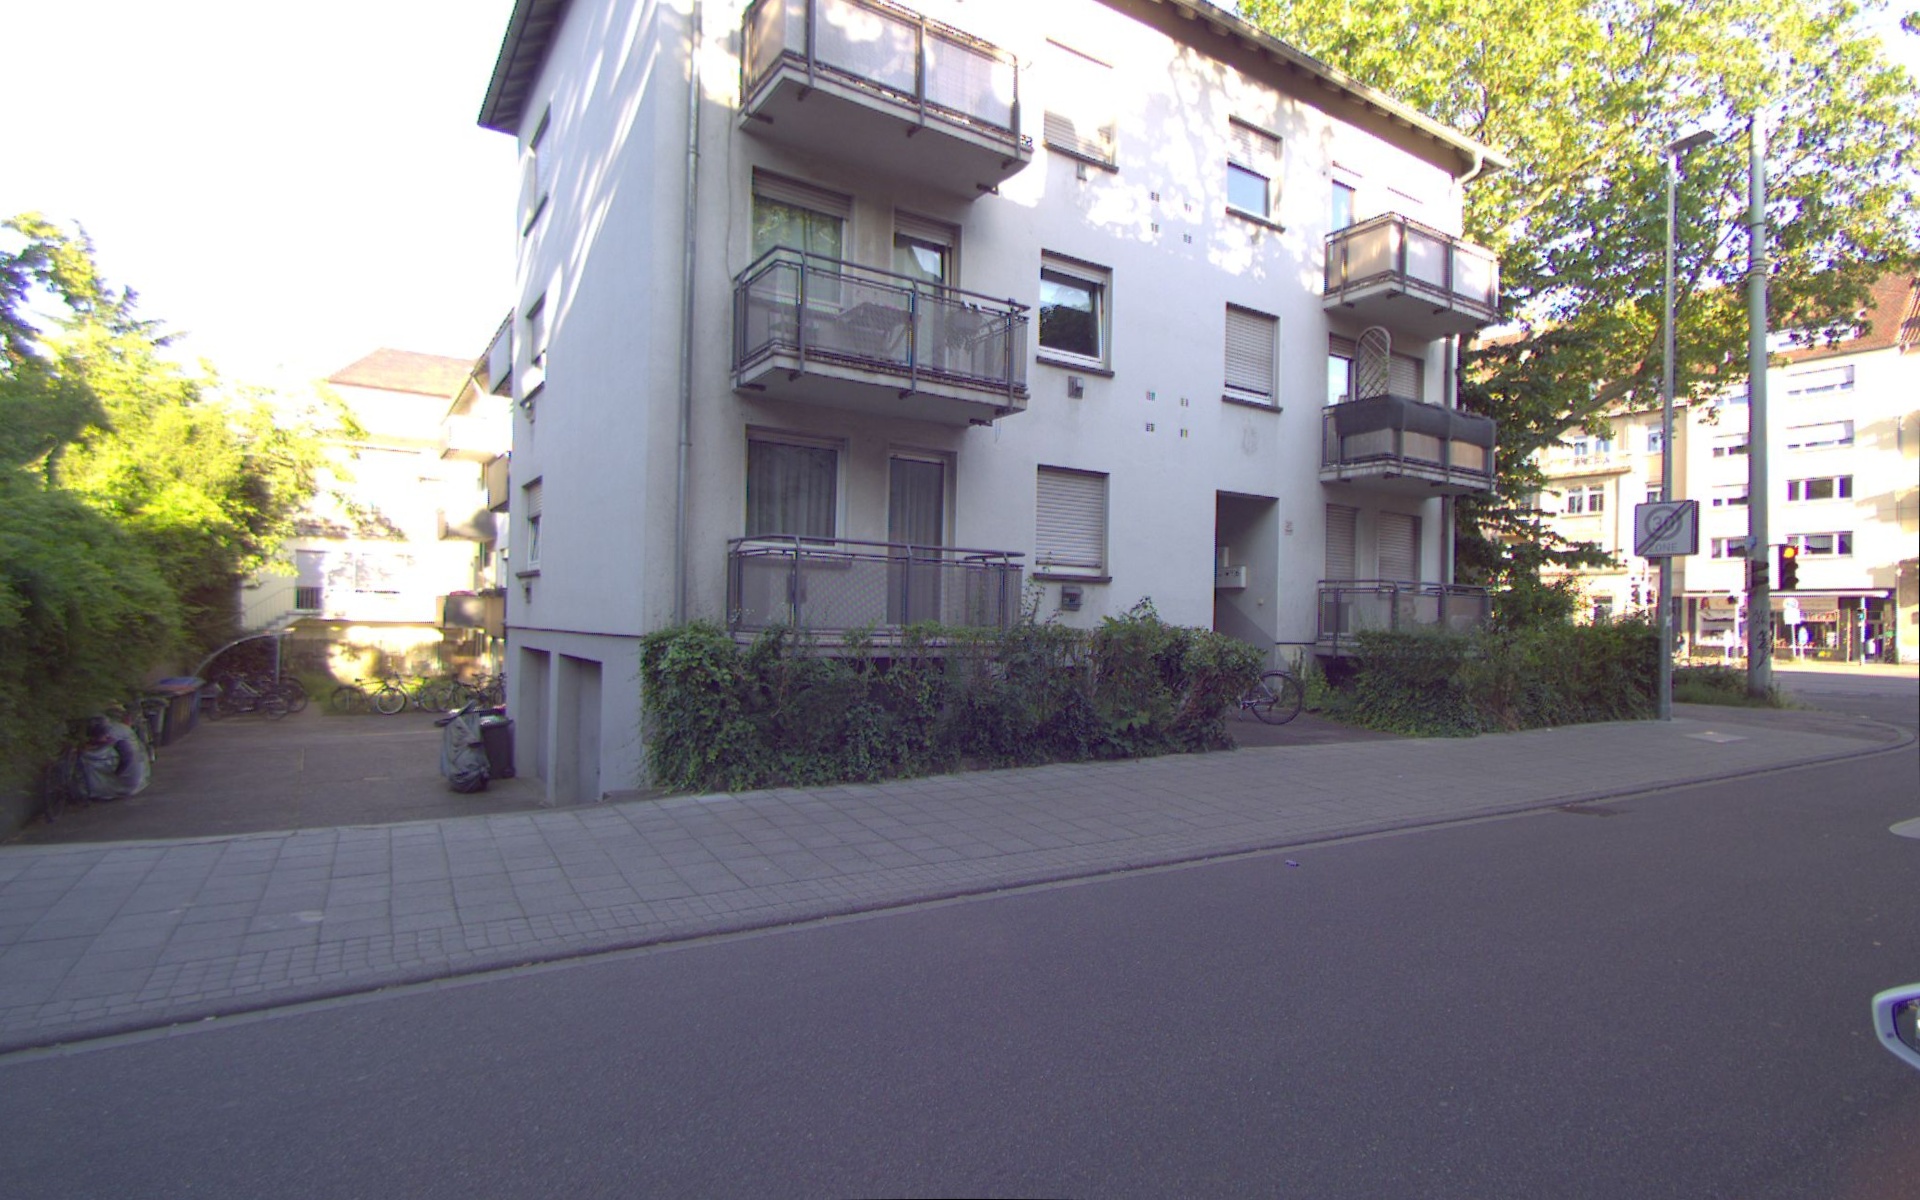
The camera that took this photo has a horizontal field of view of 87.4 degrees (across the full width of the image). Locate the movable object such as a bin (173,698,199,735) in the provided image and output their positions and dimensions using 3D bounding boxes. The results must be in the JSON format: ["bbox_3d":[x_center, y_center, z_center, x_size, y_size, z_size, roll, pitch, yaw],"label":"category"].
[{"bbox_3d":[-16.403,2.467,21.279,0.362,0.768,0.361,2,-4,-30],"label":"movable object such as a bin"}]

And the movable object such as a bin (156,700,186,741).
[{"bbox_3d":[-15.663,2.395,19.947,0.393,0.784,0.361,2,-4,-30],"label":"movable object such as a bin"}]

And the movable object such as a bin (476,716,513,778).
[{"bbox_3d":[-7.500,2.355,16.178,0.428,0.899,0.720,1,-2,-34],"label":"movable object such as a bin"}]

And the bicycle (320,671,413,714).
[{"bbox_3d":[-15.694,2.449,26.608,2.045,1.034,0.637,4,0,-30],"label":"bicycle"}]

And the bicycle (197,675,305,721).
[{"bbox_3d":[-17.276,2.391,24.544,2.045,1.034,0.637,4,0,-30],"label":"bicycle"}]

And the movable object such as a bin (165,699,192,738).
[{"bbox_3d":[-16.018,2.422,20.592,0.371,0.768,0.361,2,-4,-30],"label":"movable object such as a bin"}]

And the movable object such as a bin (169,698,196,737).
[{"bbox_3d":[-16.209,2.445,20.939,0.362,0.768,0.361,2,-4,-30],"label":"movable object such as a bin"}]

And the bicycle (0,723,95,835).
[{"bbox_3d":[-10.963,2.097,12.083,0.509,1.033,1.922,3,-1,-32],"label":"bicycle"}]

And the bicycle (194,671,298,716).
[{"bbox_3d":[-18.028,2.372,25.423,2.045,1.034,0.568,4,0,-30],"label":"bicycle"}]

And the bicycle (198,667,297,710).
[{"bbox_3d":[-18.861,2.353,26.649,2.045,1.034,0.611,4,0,-30],"label":"bicycle"}]

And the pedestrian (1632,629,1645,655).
[{"bbox_3d":[40.830,2.534,60.480,0.526,1.531,0.510,1,-1,18],"label":"pedestrian"}]

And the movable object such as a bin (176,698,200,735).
[{"bbox_3d":[-16.604,2.495,21.617,0.342,0.768,0.361,2,-4,-30],"label":"movable object such as a bin"}]

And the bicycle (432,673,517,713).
[{"bbox_3d":[-13.483,2.586,27.925,2.045,1.034,0.637,4,0,-30],"label":"bicycle"}]

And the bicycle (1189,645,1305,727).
[{"bbox_3d":[3.884,1.147,13.612,1.433,0.988,0.407,3,0,21],"label":"bicycle"}]

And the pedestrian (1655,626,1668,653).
[{"bbox_3d":[40.484,2.254,57.958,0.558,1.531,0.499,0,-1,41],"label":"pedestrian"}]

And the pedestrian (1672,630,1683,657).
[{"bbox_3d":[41.688,2.518,58.340,0.467,1.531,0.429,0,-1,41],"label":"pedestrian"}]

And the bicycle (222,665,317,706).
[{"bbox_3d":[-18.996,2.355,27.686,2.045,1.034,0.611,4,0,-30],"label":"bicycle"}]

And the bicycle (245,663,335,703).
[{"bbox_3d":[-19.019,2.358,28.558,2.045,1.034,0.564,4,0,-30],"label":"bicycle"}]

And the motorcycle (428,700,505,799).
[{"bbox_3d":[-7.397,2.191,15.019,0.751,1.268,1.577,1,-2,-36],"label":"motorcycle"}]

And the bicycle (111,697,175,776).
[{"bbox_3d":[-13.220,2.175,16.288,0.509,1.033,1.922,3,-1,-32],"label":"bicycle"}]

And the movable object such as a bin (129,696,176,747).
[{"bbox_3d":[-14.950,2.247,18.616,0.570,0.891,0.491,2,-4,-30],"label":"movable object such as a bin"}]

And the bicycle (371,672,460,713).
[{"bbox_3d":[-14.719,2.510,27.200,2.045,1.034,0.637,4,0,-30],"label":"bicycle"}]
